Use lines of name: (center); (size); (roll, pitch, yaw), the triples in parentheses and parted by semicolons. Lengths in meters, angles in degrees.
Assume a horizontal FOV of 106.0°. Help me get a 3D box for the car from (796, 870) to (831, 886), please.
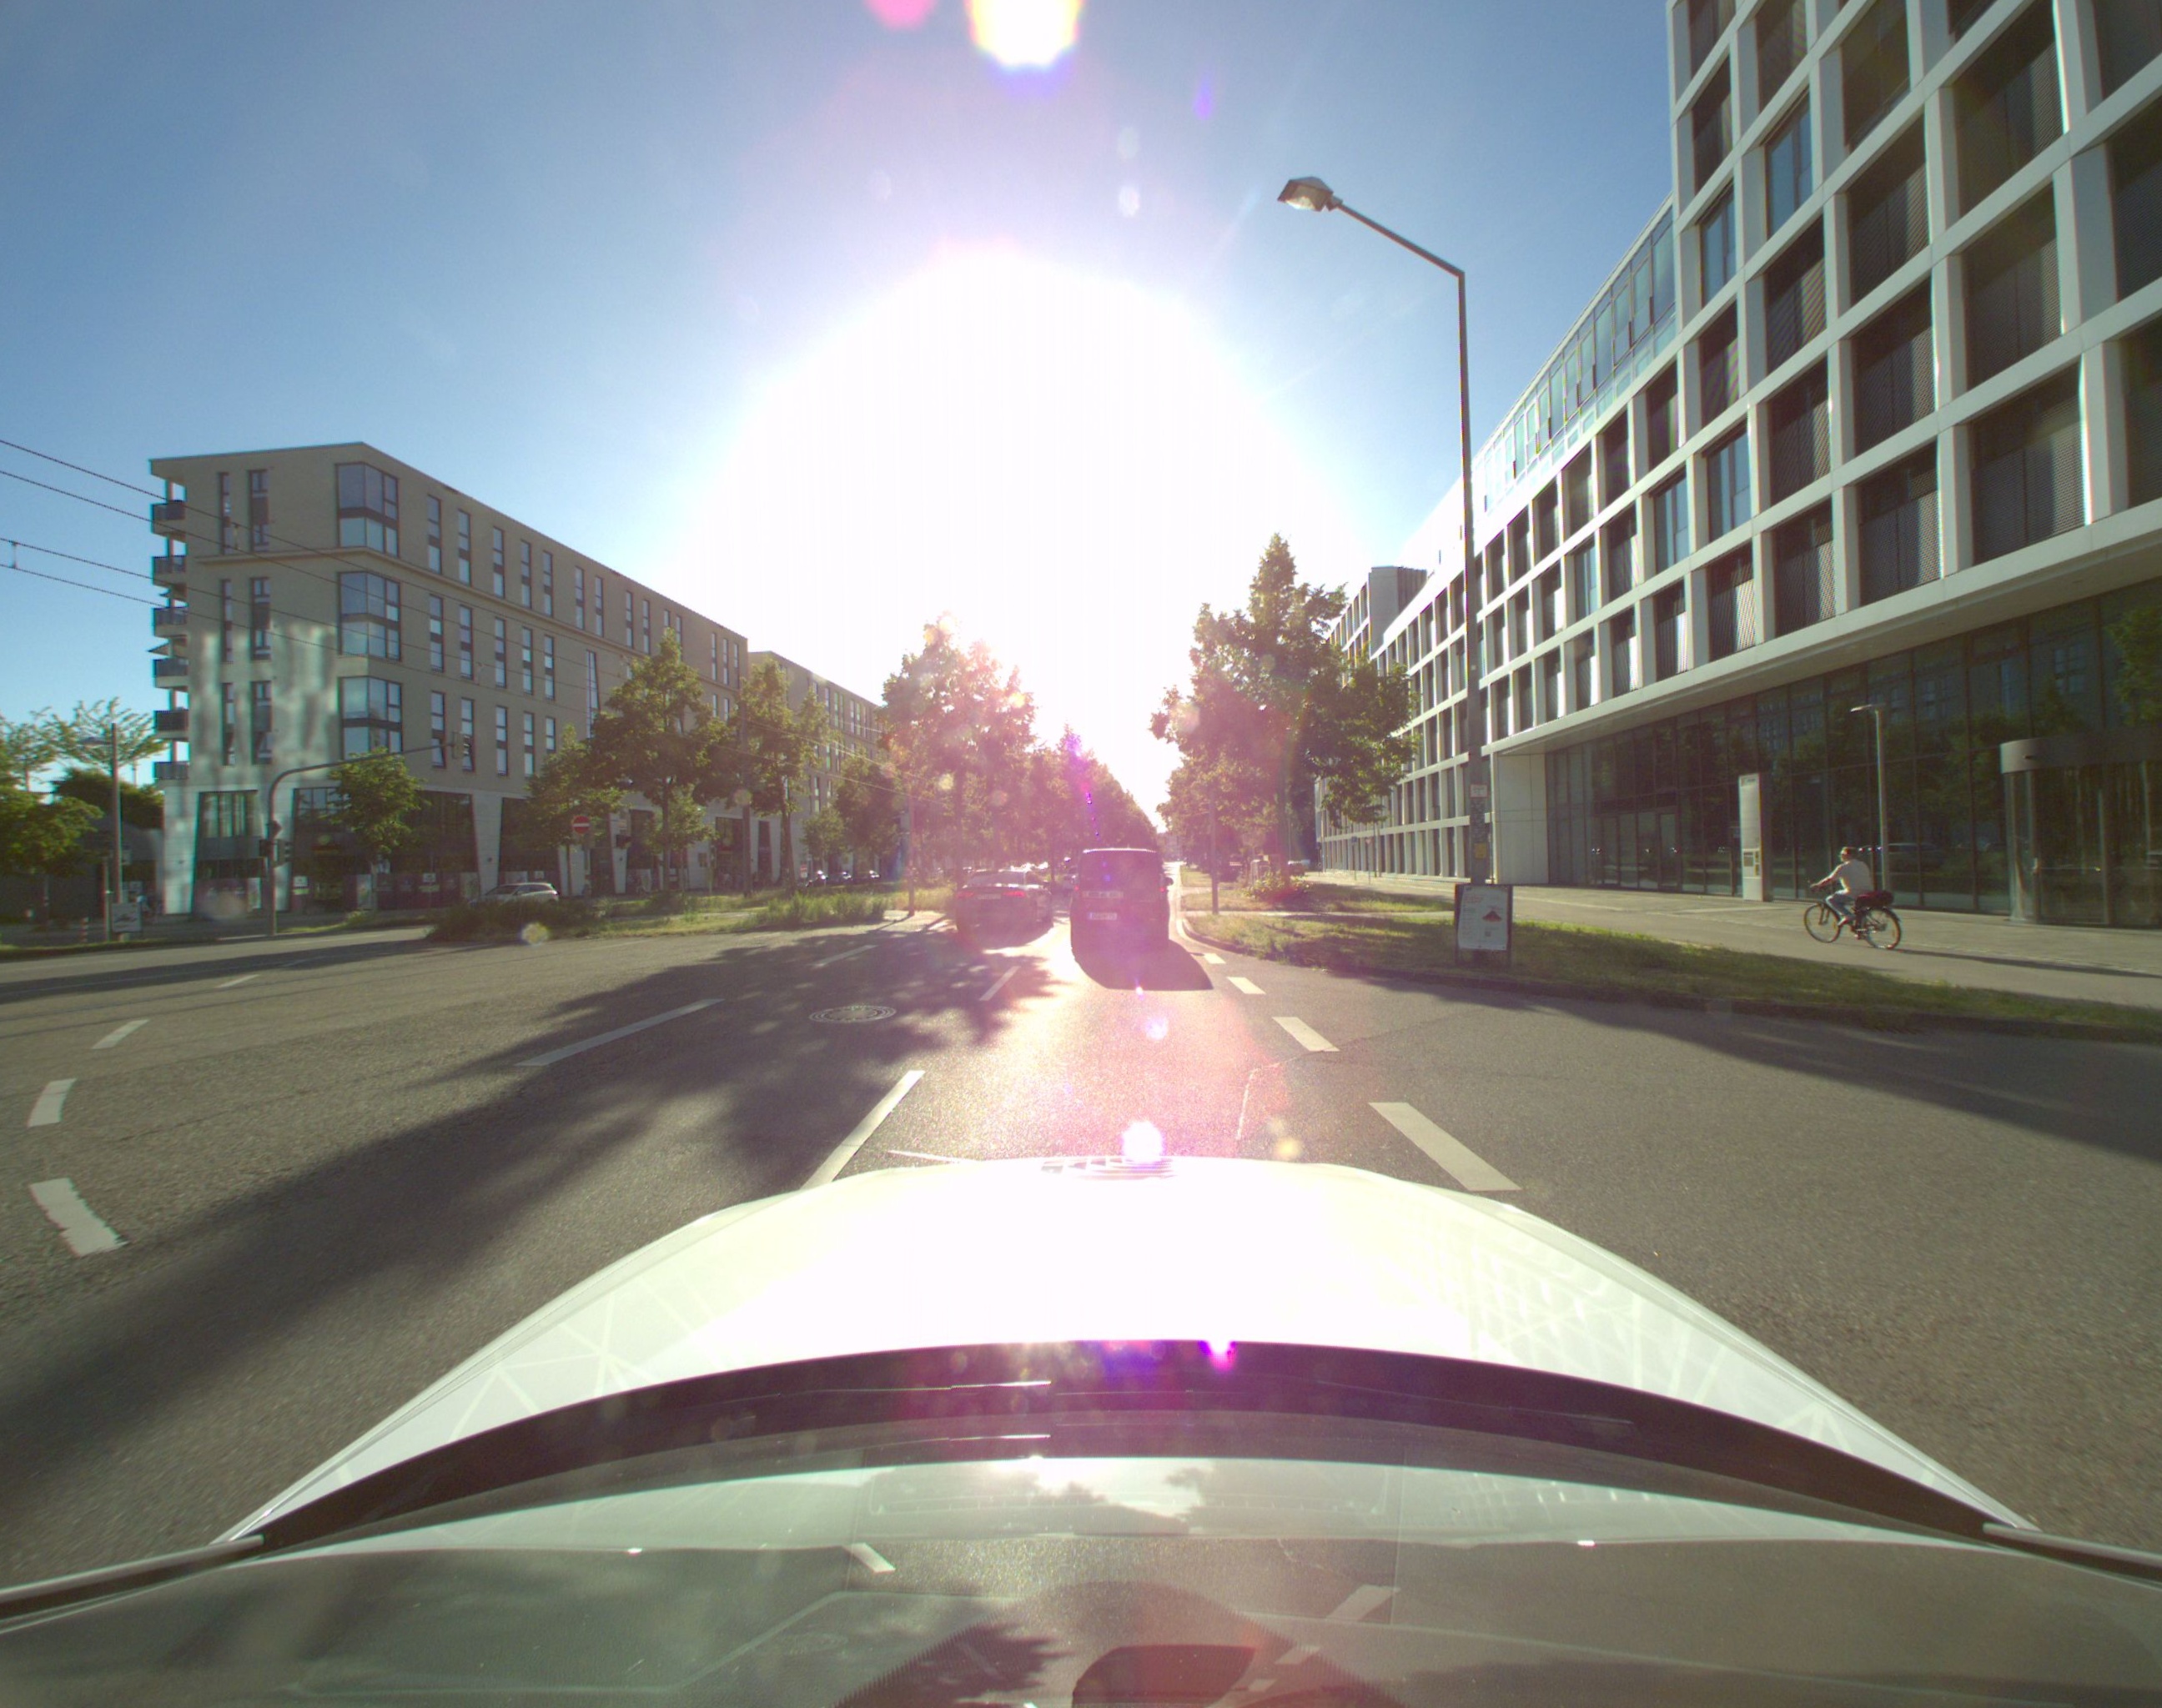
car: (-23.829, 2.130, 72.714); (1.572, 1.342, 3.719); (-2, -1, 6)

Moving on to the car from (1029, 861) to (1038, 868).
car: (-12.715, 2.776, 220.018); (1.723, 1.772, 4.007); (-2, -1, 6)

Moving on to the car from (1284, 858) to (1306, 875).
car: (22.061, 1.282, 84.148); (1.748, 1.611, 3.912); (-1, 0, 8)

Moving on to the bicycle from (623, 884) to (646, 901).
bicycle: (-31.556, 2.708, 57.535); (0.525, 1.111, 1.642); (-1, -1, 9)

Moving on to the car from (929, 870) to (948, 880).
car: (-19.396, 2.831, 110.779); (1.572, 1.342, 3.719); (-2, -1, 6)

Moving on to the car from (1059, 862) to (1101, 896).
car: (-0.049, 1.129, 38.347); (1.802, 1.434, 4.111); (-1, 0, 0)

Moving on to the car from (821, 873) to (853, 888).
car: (-23.458, 2.535, 78.467); (1.572, 1.342, 3.719); (-2, -1, 6)

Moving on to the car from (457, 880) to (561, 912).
car: (-28.009, 2.040, 40.067); (1.572, 1.342, 4.480); (-2, -1, 6)

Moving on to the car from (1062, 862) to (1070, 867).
car: (-4.370, 3.075, 239.977); (1.593, 1.556, 4.007); (-1, -1, 7)

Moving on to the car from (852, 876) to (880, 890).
car: (-22.442, 3.064, 85.264); (1.572, 1.342, 3.719); (-2, -1, 6)

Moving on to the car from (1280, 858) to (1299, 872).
car: (22.790, 1.186, 89.118); (1.808, 1.532, 3.447); (-2, -1, 10)

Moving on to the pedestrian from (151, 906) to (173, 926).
pedestrian: (-44.806, 3.010, 39.698); (0.602, 0.920, 0.429); (0, -1, -30)

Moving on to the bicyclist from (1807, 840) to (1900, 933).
bicyclist: (13.297, 0.547, 14.050); (0.767, 1.531, 0.851); (-2, -1, 7)

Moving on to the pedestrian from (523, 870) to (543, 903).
pedestrian: (-30.386, 1.799, 45.157); (0.576, 1.812, 0.801); (-1, -1, 3)

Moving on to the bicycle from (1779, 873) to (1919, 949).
bicycle: (13.340, 0.955, 14.239); (0.737, 1.174, 1.965); (-2, 0, 7)

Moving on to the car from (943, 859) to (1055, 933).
car: (-1.792, 0.898, 19.152); (1.799, 1.527, 4.119); (-1, 0, 6)

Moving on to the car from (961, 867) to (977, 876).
car: (-16.937, 2.596, 123.206); (1.572, 1.342, 3.719); (-2, -1, 6)

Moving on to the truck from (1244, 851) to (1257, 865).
truck: (32.041, 0.753, 154.444); (1.822, 2.501, 5.943); (-1, -1, 7)

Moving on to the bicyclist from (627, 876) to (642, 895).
bicyclist: (-31.538, 2.210, 57.553); (0.574, 1.293, 0.707); (-1, -1, 10)

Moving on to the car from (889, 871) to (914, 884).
car: (-21.597, 2.834, 98.143); (1.767, 1.528, 3.813); (-2, -1, 6)

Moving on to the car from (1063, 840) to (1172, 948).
car: (0.711, 0.675, 15.848); (1.801, 1.794, 4.115); (-1, 0, 2)

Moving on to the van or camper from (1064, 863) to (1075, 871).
van or camper: (-2.510, 2.746, 175.660); (1.811, 1.738, 3.719); (-2, -1, 6)

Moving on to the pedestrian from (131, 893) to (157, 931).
pedestrian: (-44.435, 2.751, 38.616); (0.602, 1.771, 0.666); (0, -1, -30)
